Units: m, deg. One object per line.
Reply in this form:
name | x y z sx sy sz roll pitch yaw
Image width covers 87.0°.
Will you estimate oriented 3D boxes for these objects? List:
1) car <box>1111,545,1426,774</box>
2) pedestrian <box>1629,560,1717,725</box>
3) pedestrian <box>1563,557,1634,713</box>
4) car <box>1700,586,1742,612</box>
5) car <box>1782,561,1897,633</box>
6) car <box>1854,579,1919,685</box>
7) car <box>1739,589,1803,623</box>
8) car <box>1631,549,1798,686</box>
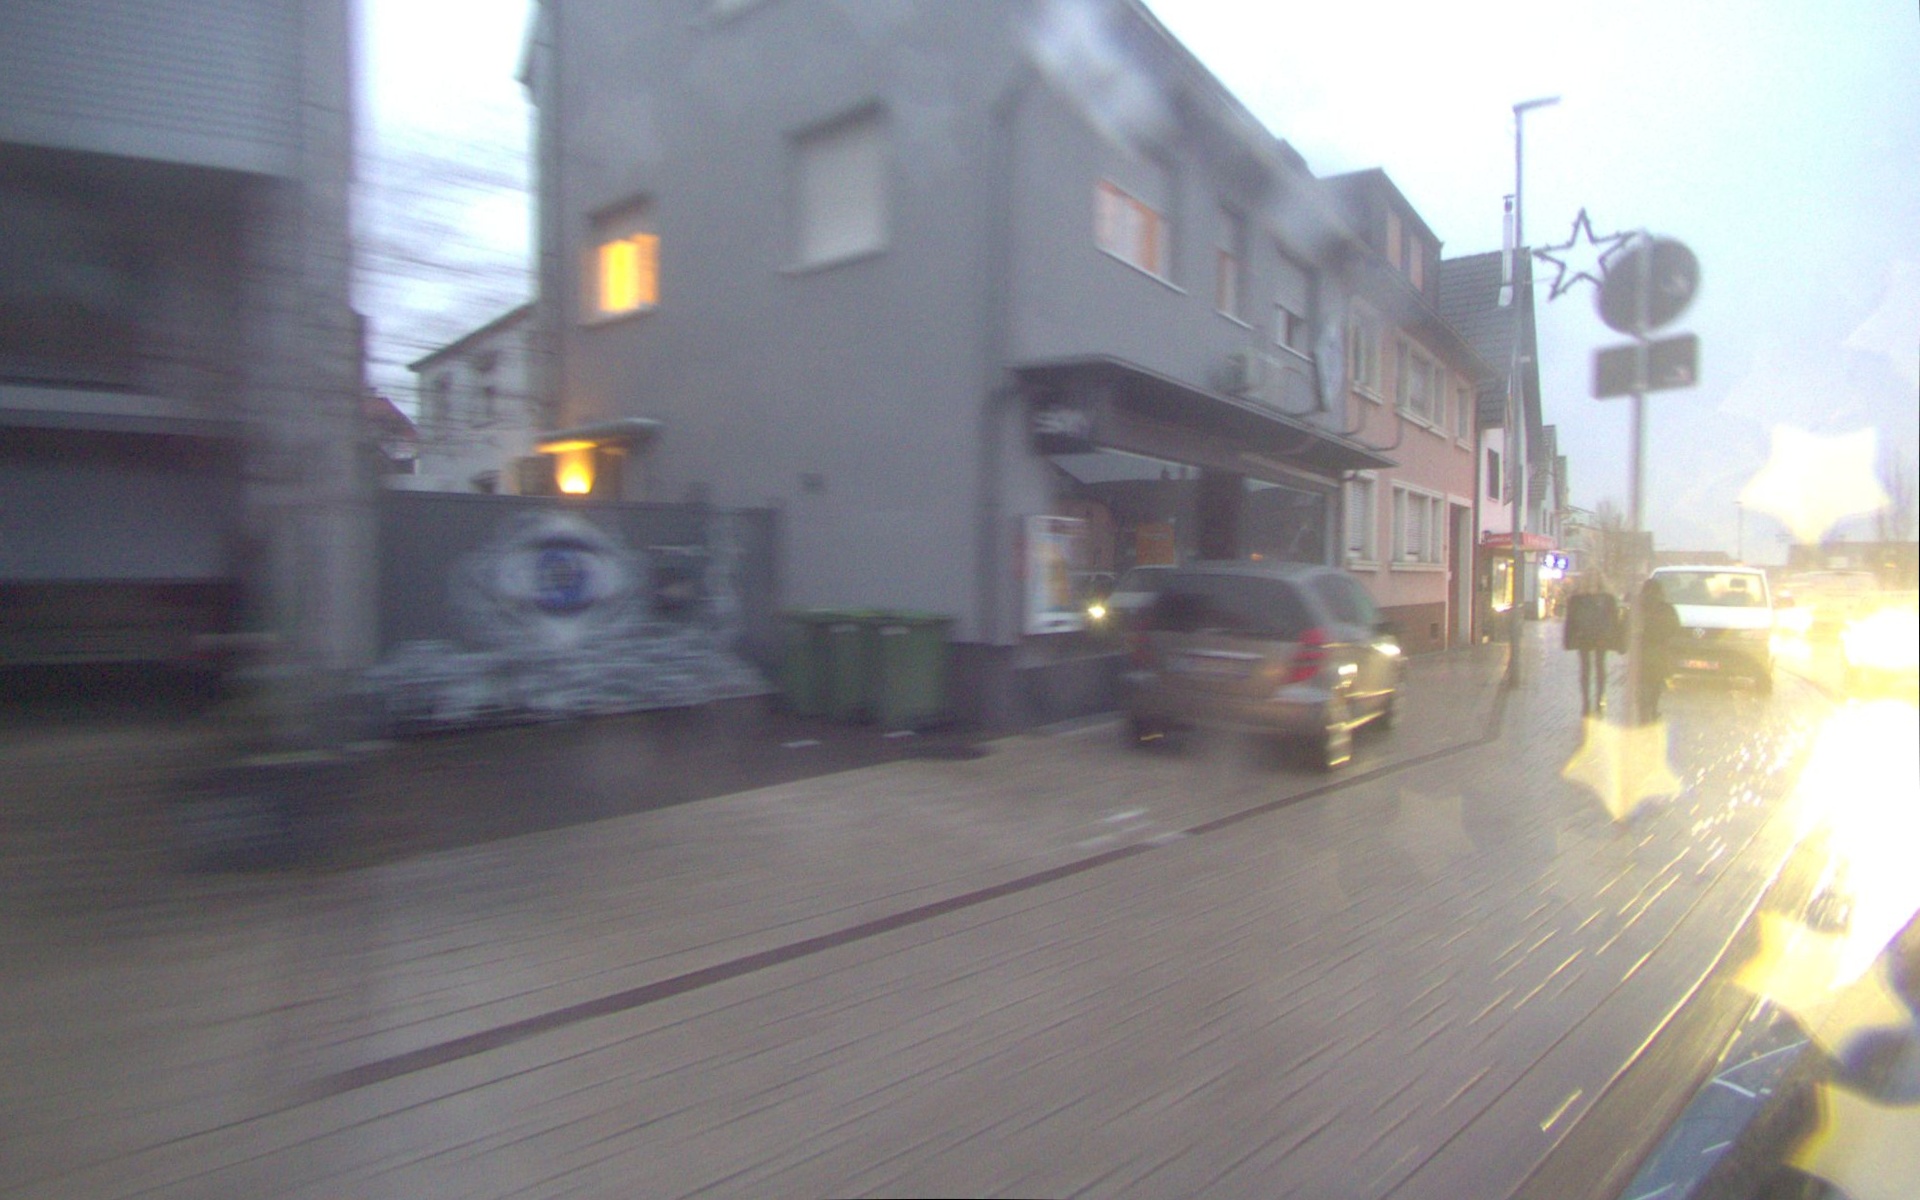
car | 2.933 0.378 9.112 1.728 1.580 3.620 3 2 33
pedestrian | 7.836 0.431 11.152 0.711 1.720 0.794 2 2 35
pedestrian | 7.290 0.371 11.546 0.578 1.690 0.781 2 2 37
car | 47.927 -0.057 63.777 1.612 1.498 3.796 3 2 31
car | 33.630 -0.146 38.895 2.184 2.521 6.076 2 1 31
car | 17.036 0.490 17.346 2.260 1.663 4.996 2 2 38
car | 40.487 0.275 50.612 1.817 1.537 4.499 3 2 30
car | 12.831 0.220 17.093 1.970 1.984 4.782 2 1 40
